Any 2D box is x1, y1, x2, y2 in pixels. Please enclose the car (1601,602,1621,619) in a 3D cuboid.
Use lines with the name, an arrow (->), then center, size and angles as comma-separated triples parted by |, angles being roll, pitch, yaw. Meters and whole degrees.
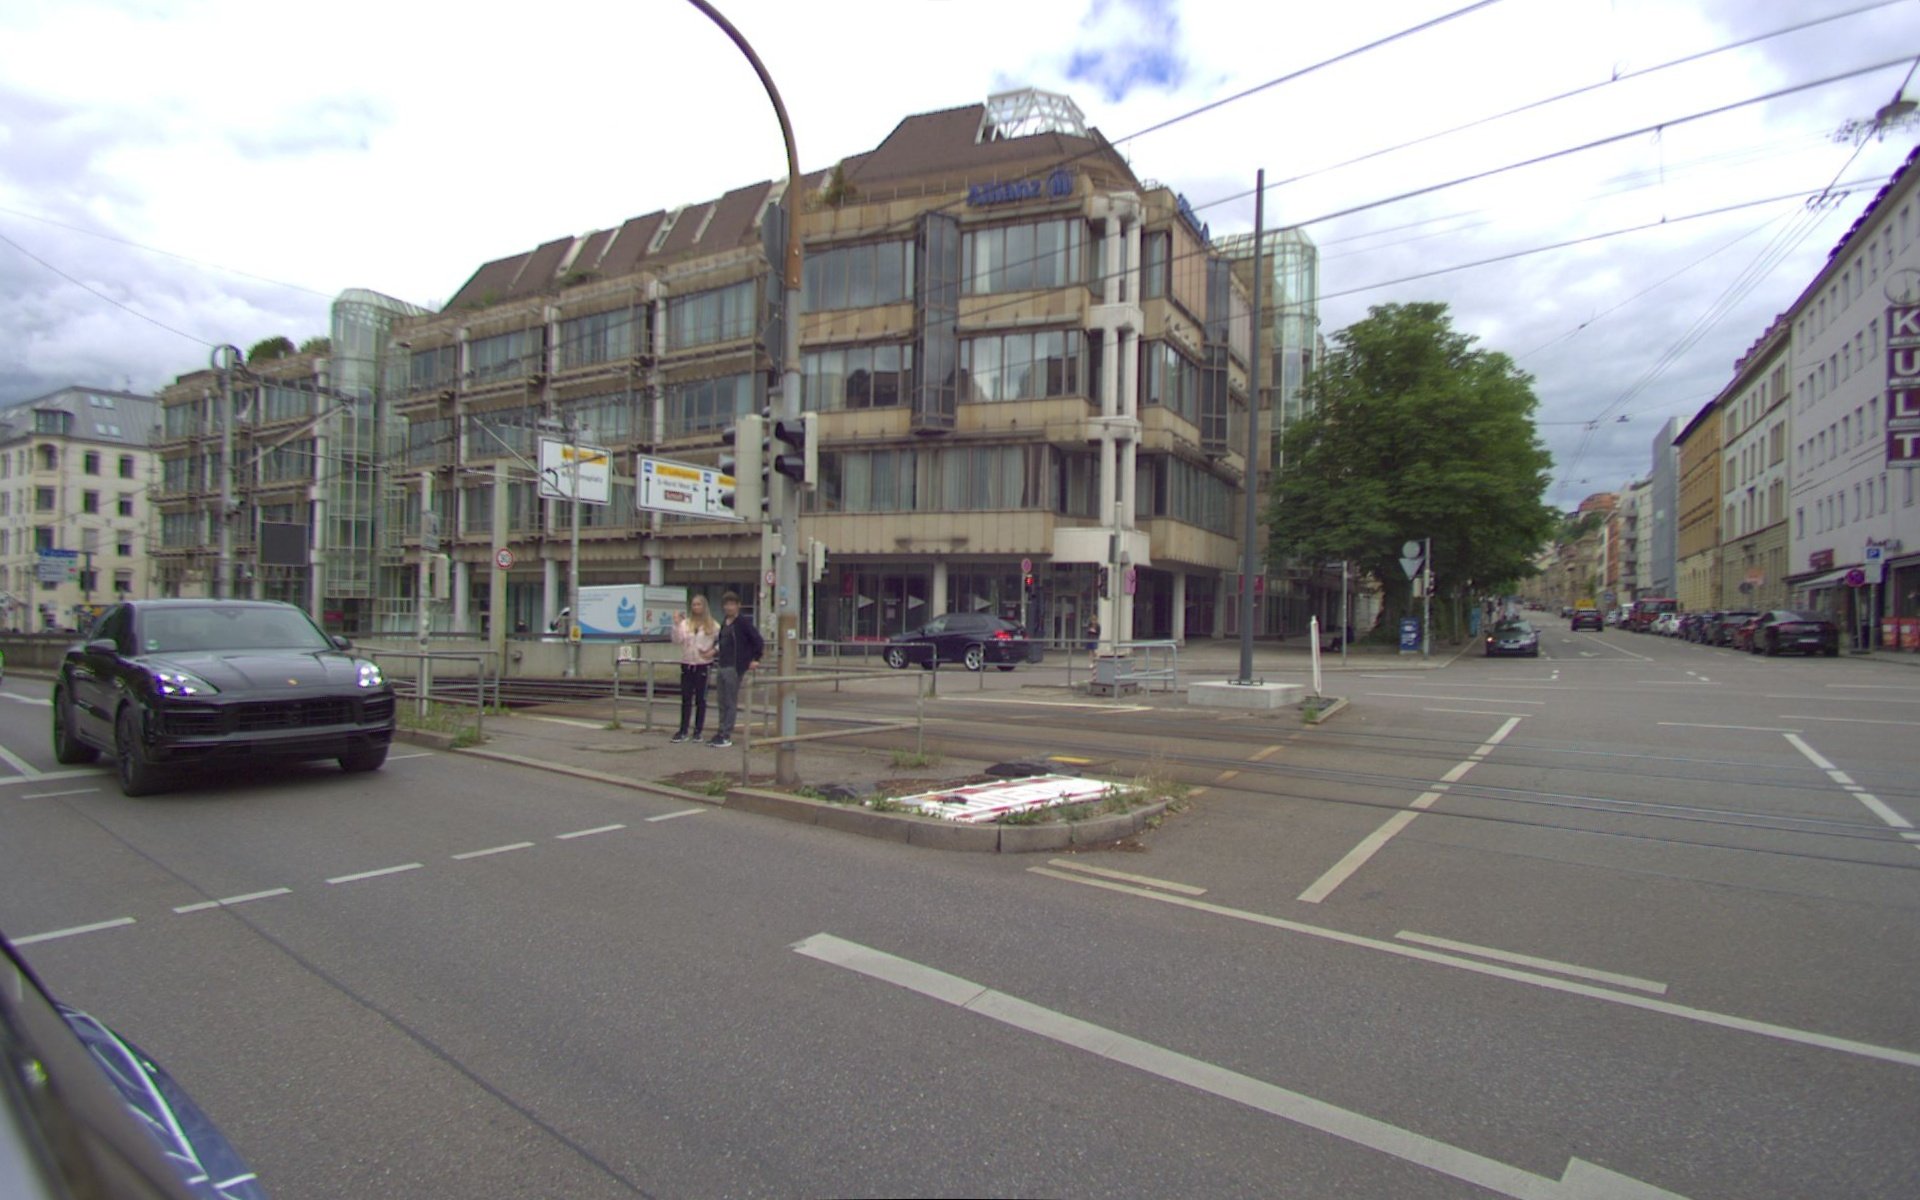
car -> 67.100, 1.091, 104.314 | 1.645, 1.725, 3.609 | -1, -2, 33

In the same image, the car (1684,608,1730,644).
car -> 38.239, 1.318, 51.883 | 1.645, 1.724, 3.609 | 1, 0, 33

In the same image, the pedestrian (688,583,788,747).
pedestrian -> -2.459, 0.696, 11.219 | 0.771, 1.734, 0.784 | -2, -2, 39

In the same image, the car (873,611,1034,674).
car -> -0.238, 1.254, 30.772 | 4.767, 1.772, 1.660 | -1, 0, 33

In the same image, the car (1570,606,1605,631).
car -> 46.366, 1.364, 74.819 | 1.917, 1.725, 4.450 | -1, -1, 29

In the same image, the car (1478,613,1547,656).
car -> 21.408, 1.298, 39.355 | 1.939, 1.542, 3.968 | -1, 0, 23

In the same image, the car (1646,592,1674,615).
car -> 56.150, 0.309, 81.217 | 1.645, 1.725, 3.609 | -1, -2, 33

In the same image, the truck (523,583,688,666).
truck -> -14.422, 1.017, 40.957 | 7.353, 3.100, 2.248 | -1, -3, 34

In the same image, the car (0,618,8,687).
car -> -23.624, 1.208, 23.272 | 3.994, 1.542, 1.926 | -1, 0, 38

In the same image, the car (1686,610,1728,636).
car -> 41.924, 1.286, 56.834 | 1.645, 1.455, 3.609 | -1, -2, 33

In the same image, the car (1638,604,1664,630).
car -> 48.563, 1.184, 71.146 | 1.385, 1.753, 3.609 | -1, -2, 33

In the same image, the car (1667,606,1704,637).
car -> 44.397, 1.332, 61.949 | 1.645, 1.725, 3.609 | -1, -3, 33

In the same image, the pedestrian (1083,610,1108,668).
pedestrian -> 4.256, 1.202, 31.692 | 0.576, 1.793, 0.504 | -2, -2, 41

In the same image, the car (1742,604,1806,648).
car -> 33.492, 1.075, 41.733 | 1.645, 1.725, 3.609 | -1, -2, 33

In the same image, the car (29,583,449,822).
car -> -7.107, 0.793, 9.700 | 5.348, 1.688, 2.061 | -2, -2, 41

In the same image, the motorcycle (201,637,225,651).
motorcycle -> -59.790, 3.528, 81.000 | 1.656, 1.083, 0.642 | -1, 0, 13

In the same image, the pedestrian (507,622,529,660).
pedestrian -> -22.064, 2.034, 50.523 | 0.738, 1.825, 0.724 | -1, -1, 34

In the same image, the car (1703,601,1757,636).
car -> 35.307, 0.863, 46.456 | 1.645, 1.545, 3.609 | -1, -2, 33

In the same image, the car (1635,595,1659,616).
car -> 60.969, 0.505, 89.798 | 1.645, 1.725, 3.609 | -1, -2, 33

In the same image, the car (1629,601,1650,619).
car -> 65.944, 0.955, 98.247 | 1.645, 1.725, 3.609 | -1, -2, 33

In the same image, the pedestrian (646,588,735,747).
pedestrian -> -3.073, 0.744, 11.565 | 0.637, 1.734, 0.757 | -2, -2, 38

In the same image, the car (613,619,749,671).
car -> -9.004, 1.429, 32.559 | 4.520, 1.564, 1.644 | -1, -2, 32

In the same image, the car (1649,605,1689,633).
car -> 46.356, 1.248, 66.209 | 1.643, 1.725, 3.615 | -1, -1, 28
